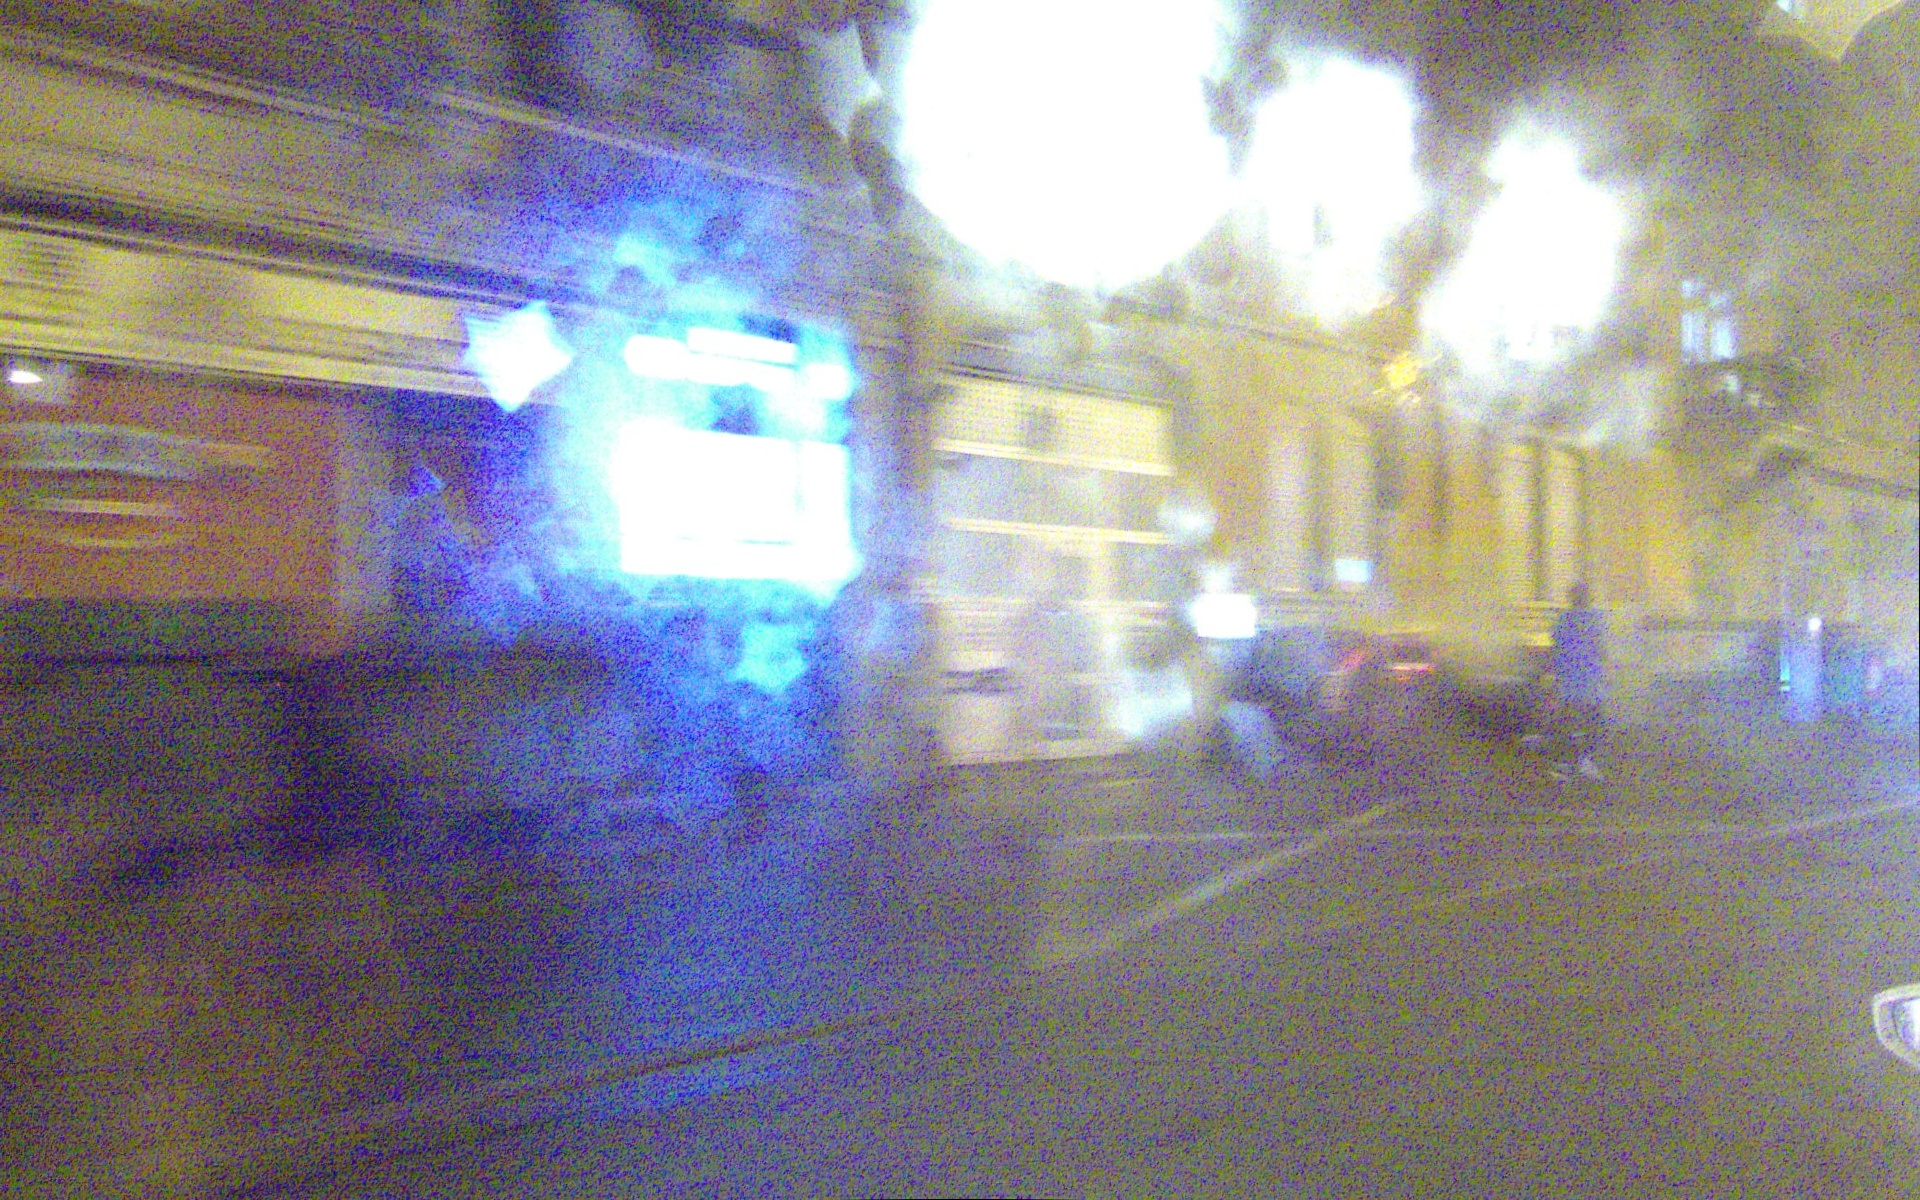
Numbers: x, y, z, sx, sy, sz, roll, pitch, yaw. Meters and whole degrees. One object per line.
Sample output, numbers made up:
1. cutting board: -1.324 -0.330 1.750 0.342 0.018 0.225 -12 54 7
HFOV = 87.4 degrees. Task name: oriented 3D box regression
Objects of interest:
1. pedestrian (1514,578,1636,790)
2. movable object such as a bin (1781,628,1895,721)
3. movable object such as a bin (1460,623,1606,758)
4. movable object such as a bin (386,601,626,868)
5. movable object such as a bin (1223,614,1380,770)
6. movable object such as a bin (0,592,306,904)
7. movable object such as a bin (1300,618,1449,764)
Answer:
1. pedestrian: 5.634 0.734 9.211 0.785 1.845 0.588 1 1 -30
2. movable object such as a bin: 14.296 1.183 16.367 1.143 1.417 1.043 1 0 -27
3. movable object such as a bin: 6.534 0.993 11.471 1.119 1.417 0.971 1 1 -28
4. movable object such as a bin: -2.828 0.746 6.267 1.232 1.439 1.136 1 0 -27
5. movable object such as a bin: 3.438 0.883 10.149 1.119 1.439 0.971 1 1 -28
6. movable object such as a bin: -4.279 0.697 5.395 1.139 1.439 1.136 1 0 -27
7. movable object such as a bin: 4.450 0.934 10.815 1.119 1.439 0.971 1 1 -28
